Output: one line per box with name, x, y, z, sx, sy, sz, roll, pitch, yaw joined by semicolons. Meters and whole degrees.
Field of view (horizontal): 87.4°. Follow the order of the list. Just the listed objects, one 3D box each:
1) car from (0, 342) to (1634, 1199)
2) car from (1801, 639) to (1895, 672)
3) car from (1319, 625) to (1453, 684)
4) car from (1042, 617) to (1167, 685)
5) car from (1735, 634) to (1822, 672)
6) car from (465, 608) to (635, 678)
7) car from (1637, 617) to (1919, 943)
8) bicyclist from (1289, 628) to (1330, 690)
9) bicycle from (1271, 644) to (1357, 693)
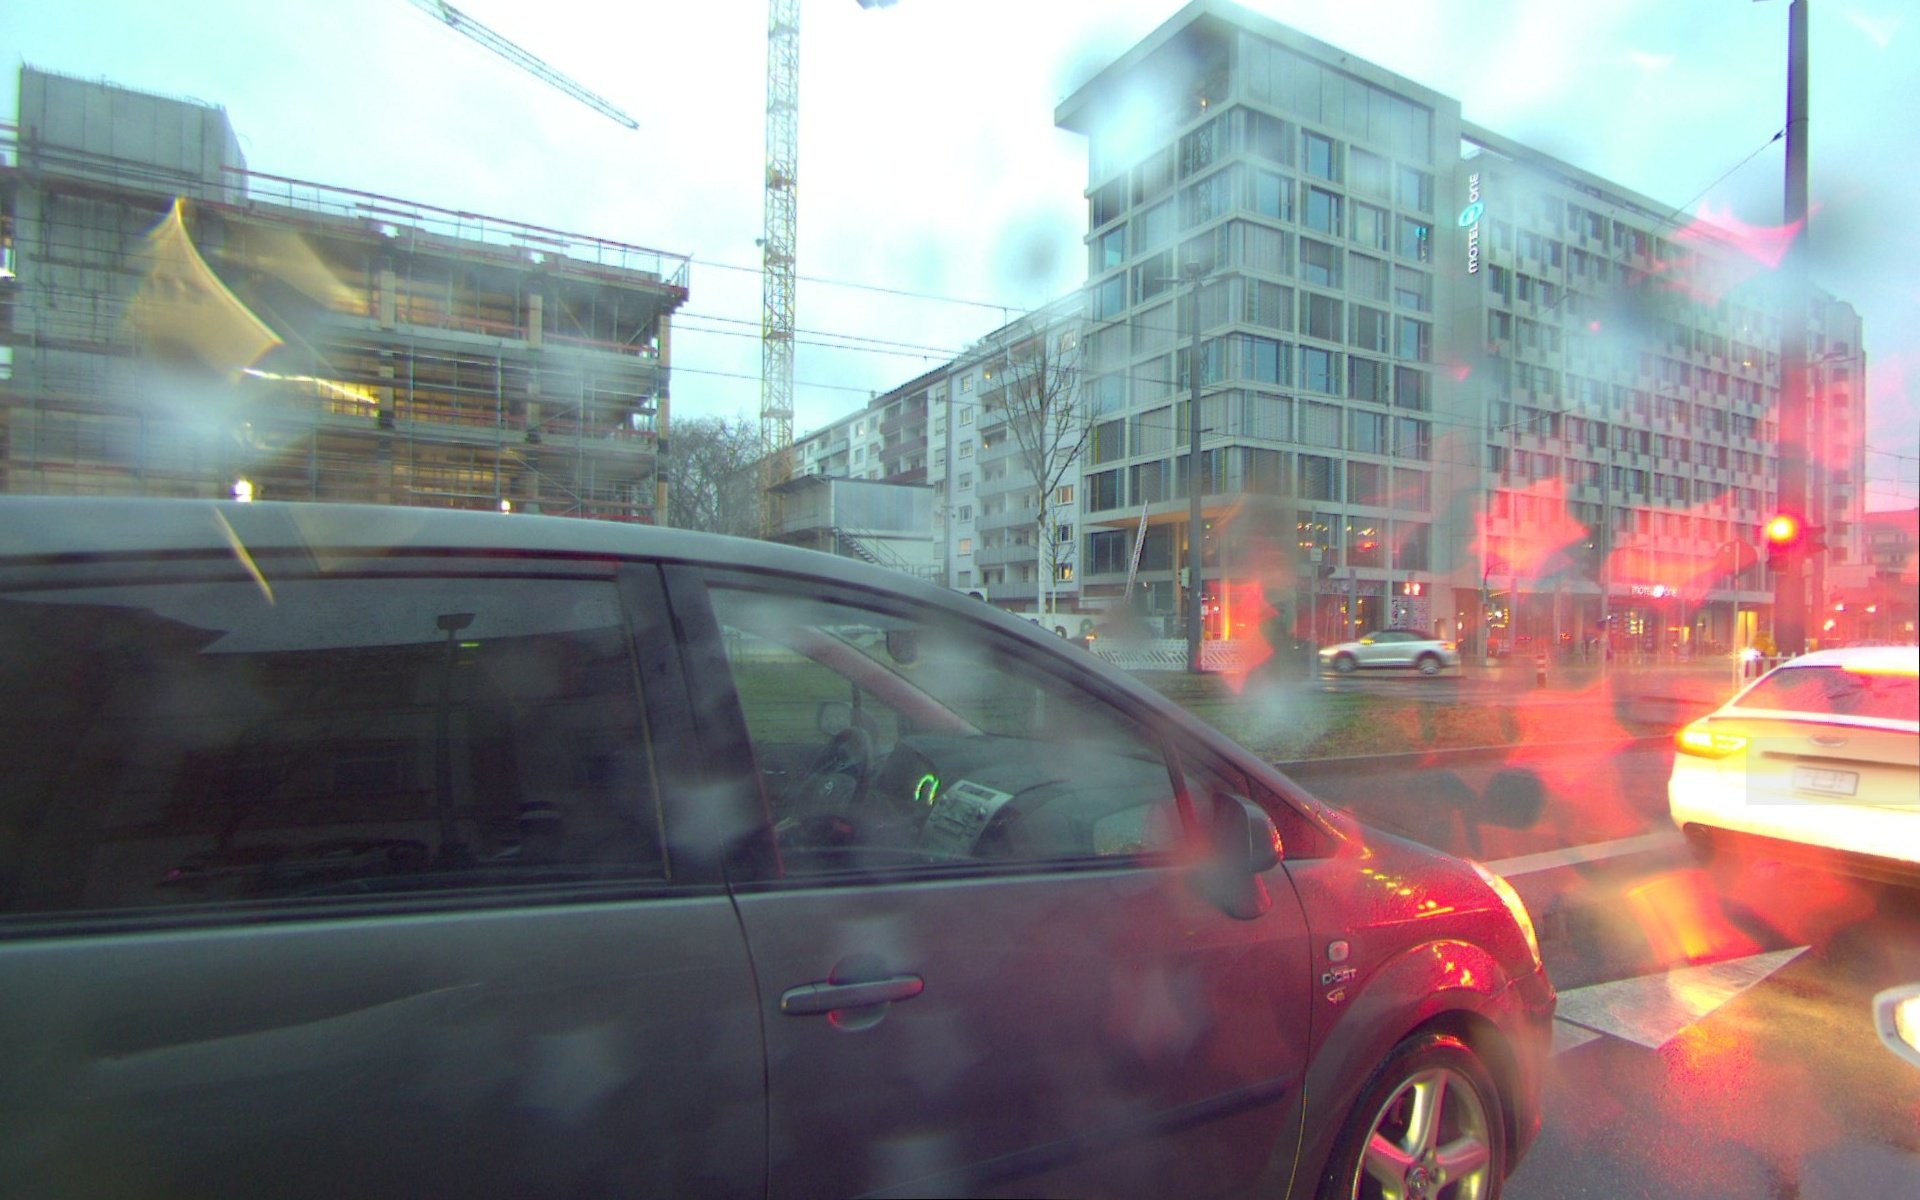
car;-0.496;0.601;2.137;3.956;1.615;1.750;2;0;-32
car;43.341;2.687;49.003;5.035;1.481;1.984;2;0;-30
car;14.351;1.787;33.831;4.008;1.709;1.956;2;0;27
car;4.911;1.722;34.560;4.003;2.151;1.959;2;0;1
car;42.240;2.716;51.815;4.542;1.813;1.873;2;0;-29
car;-10.957;1.146;26.848;4.031;1.709;1.945;2;0;-27
car;6.085;0.909;6.083;4.205;1.489;1.750;2;0;-32
bicyclist;16.641;2.797;47.819;1.180;2.865;1.340;2;0;-33
bicycle;16.732;3.208;47.661;1.180;2.040;3.964;2;0;-32
